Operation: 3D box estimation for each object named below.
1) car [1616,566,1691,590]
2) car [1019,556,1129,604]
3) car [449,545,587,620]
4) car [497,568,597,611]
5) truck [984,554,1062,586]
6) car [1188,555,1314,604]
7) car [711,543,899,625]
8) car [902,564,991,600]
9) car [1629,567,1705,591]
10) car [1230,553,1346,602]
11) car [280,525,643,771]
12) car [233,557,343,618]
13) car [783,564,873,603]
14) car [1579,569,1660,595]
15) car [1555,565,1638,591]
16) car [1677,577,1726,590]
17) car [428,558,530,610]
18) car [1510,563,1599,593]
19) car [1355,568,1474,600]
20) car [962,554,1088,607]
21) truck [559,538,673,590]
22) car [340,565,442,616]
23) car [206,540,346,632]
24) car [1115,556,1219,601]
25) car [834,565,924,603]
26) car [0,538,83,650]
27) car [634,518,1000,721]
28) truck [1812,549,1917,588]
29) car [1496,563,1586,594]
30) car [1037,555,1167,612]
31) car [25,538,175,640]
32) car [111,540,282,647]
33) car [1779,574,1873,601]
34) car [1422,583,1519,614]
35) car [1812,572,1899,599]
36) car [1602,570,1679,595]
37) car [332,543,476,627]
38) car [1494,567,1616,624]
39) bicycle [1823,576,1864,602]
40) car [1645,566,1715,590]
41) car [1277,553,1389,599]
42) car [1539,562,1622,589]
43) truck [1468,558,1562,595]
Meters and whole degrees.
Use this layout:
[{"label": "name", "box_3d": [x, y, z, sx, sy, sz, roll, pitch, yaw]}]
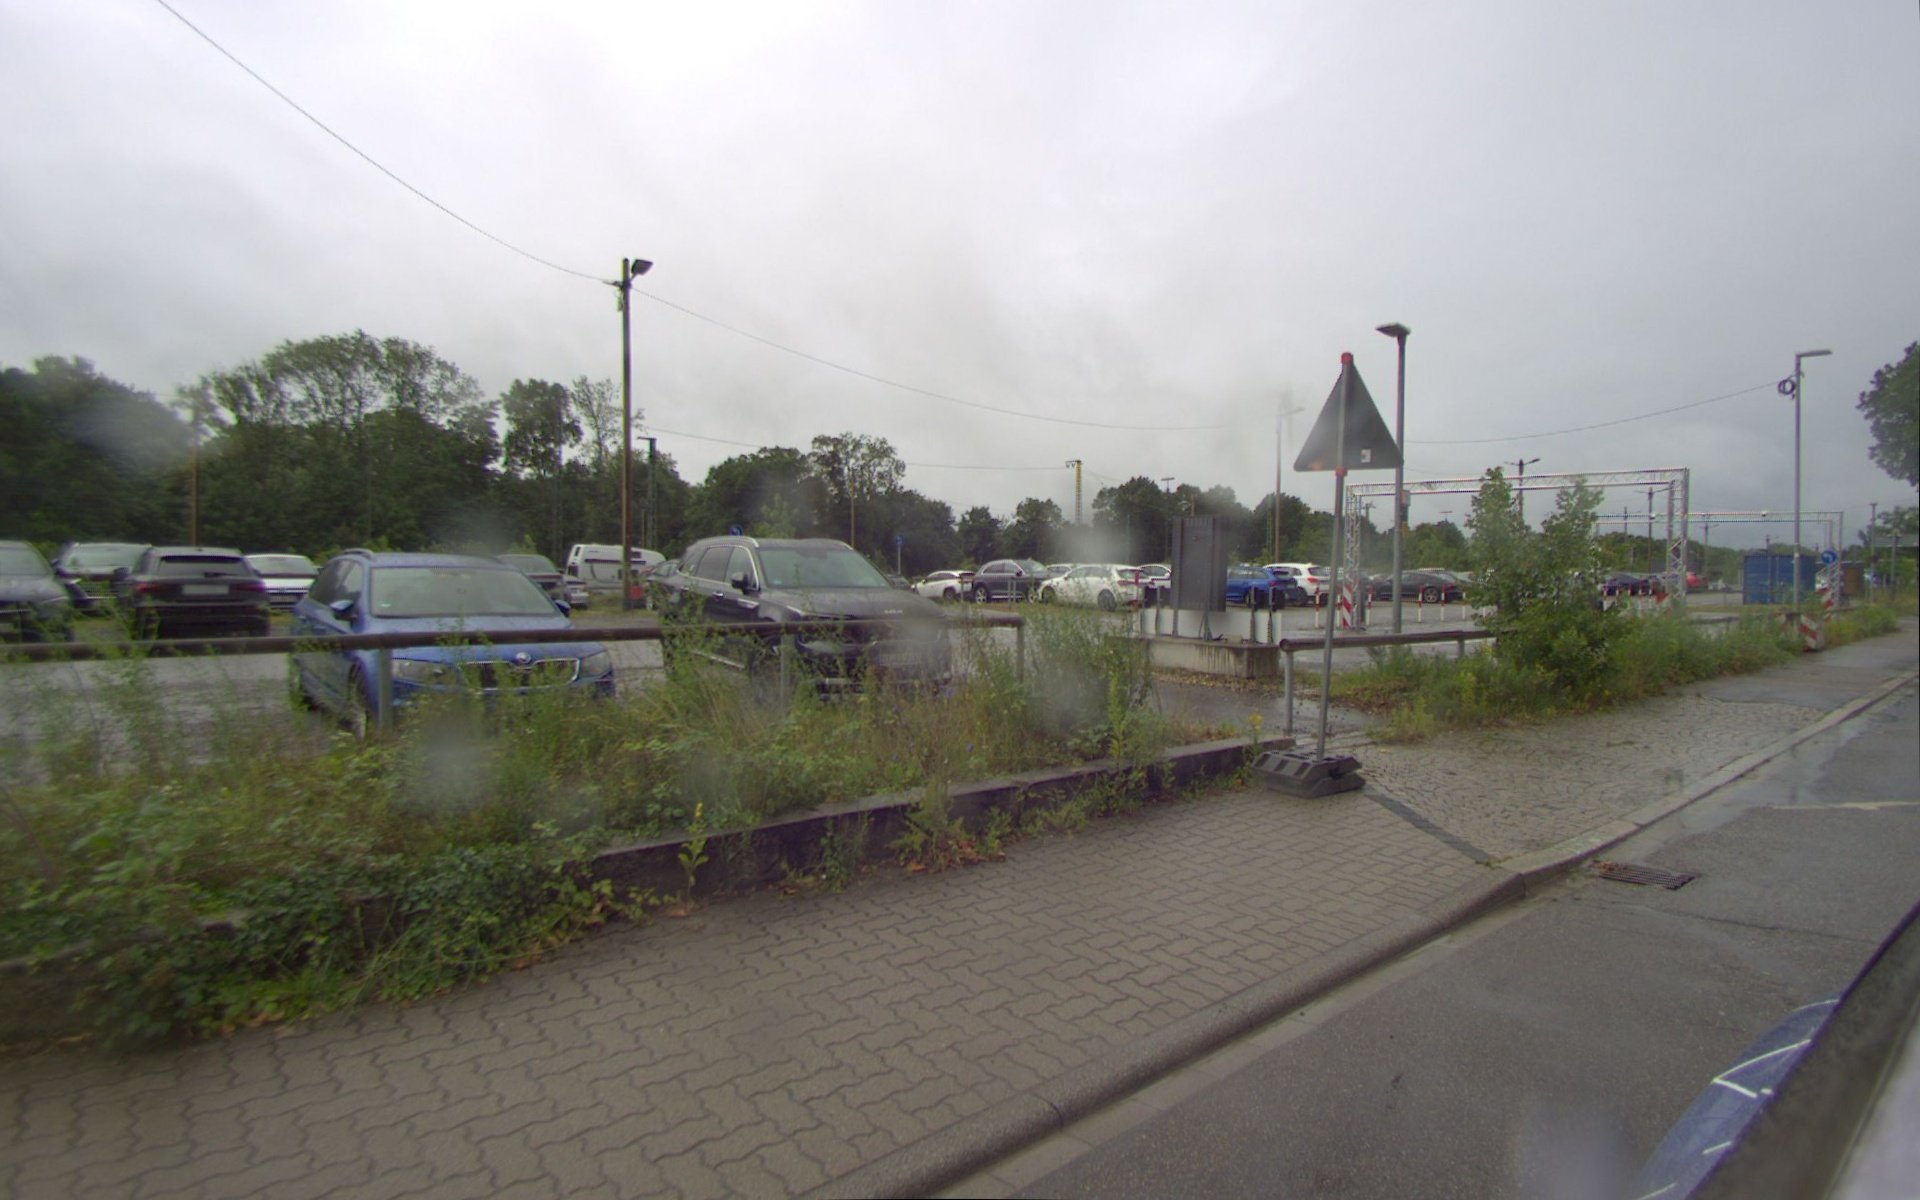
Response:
[{"label": "car", "box_3d": [48.645, -1.565, 71.082, 1.788, 1.444, 3.964, -2, 5, -38]}, {"label": "car", "box_3d": [4.369, -0.834, 39.343, 1.893, 1.624, 4.071, -2, 5, -39]}, {"label": "car", "box_3d": [-11.364, -0.542, 25.867, 2.009, 1.624, 4.451, -3, 6, -41]}, {"label": "car", "box_3d": [-15.008, -0.427, 36.695, 3.984, 1.417, 1.764, 3, 2, 41]}, {"label": "truck", "box_3d": [4.238, -1.964, 67.531, 5.185, 2.038, 2.086, 0, 3, -40]}, {"label": "car", "box_3d": [10.542, -0.797, 36.889, 1.893, 1.501, 4.058, -2, 5, -37]}, {"label": "car", "box_3d": [-3.742, -0.404, 23.913, 4.620, 1.737, 1.988, 1, 3, 44]}, {"label": "car", "box_3d": [-0.717, -0.902, 48.970, 1.986, 1.608, 4.326, -1, 2, -41]}, {"label": "car", "box_3d": [50.766, -1.522, 72.760, 1.891, 1.508, 4.077, -2, 5, -38]}, {"label": "car", "box_3d": [12.563, -0.910, 38.929, 1.754, 1.602, 3.916, -2, 5, -37]}, {"label": "car", "box_3d": [-4.407, 0.232, 8.561, 1.788, 1.535, 4.304, -2, 2, -40]}, {"label": "car", "box_3d": [-20.967, -0.429, 31.537, 3.983, 1.749, 1.870, 3, 2, 41]}, {"label": "car", "box_3d": [-5.940, -0.767, 45.115, 1.985, 1.608, 4.327, -1, 2, -40]}, {"label": "car", "box_3d": [42.605, -1.193, 65.414, 1.853, 1.444, 3.964, -2, 5, -38]}, {"label": "car", "box_3d": [39.988, -1.387, 63.645, 1.853, 1.444, 3.964, -2, 5, -38]}, {"label": "car", "box_3d": [82.183, -1.863, 112.271, 1.783, 1.392, 4.002, -1, 3, -34]}, {"label": "car", "box_3d": [-16.679, -0.601, 35.043, 3.984, 1.656, 1.764, 3, 2, 41]}, {"label": "car", "box_3d": [33.919, -1.293, 57.827, 1.746, 1.507, 3.964, -2, 5, -38]}, {"label": "car", "box_3d": [20.803, -0.774, 46.442, 1.945, 1.235, 4.596, -3, 5, -41]}, {"label": "car", "box_3d": [2.292, -0.769, 36.879, 1.893, 1.624, 4.715, -2, 5, -39]}, {"label": "truck", "box_3d": [-17.025, -1.774, 50.222, 4.996, 2.431, 2.076, -1, 3, -41]}, {"label": "car", "box_3d": [-18.643, -0.353, 33.076, 3.984, 1.511, 1.688, 3, 2, 41]}, {"label": "car", "box_3d": [-15.042, -0.414, 22.156, 2.009, 1.692, 4.451, -3, 6, -41]}, {"label": "car", "box_3d": [8.747, -0.967, 43.019, 1.801, 1.679, 4.068, -3, 6, -42]}, {"label": "car", "box_3d": [-3.768, -0.768, 46.454, 1.985, 1.608, 4.327, -1, 2, -40]}, {"label": "car", "box_3d": [-13.726, -0.100, 14.211, 1.965, 1.426, 3.996, -2, 2, -39]}, {"label": "car", "box_3d": [-1.814, 0.033, 11.266, 2.088, 1.756, 4.697, -2, 4, -36]}, {"label": "truck", "box_3d": [60.041, -2.079, 67.228, 2.075, 2.432, 5.039, -2, 2, -43]}, {"label": "car", "box_3d": [32.116, -1.199, 56.038, 1.746, 1.507, 3.964, -2, 5, -38]}, {"label": "car", "box_3d": [4.445, -0.582, 32.109, 1.893, 1.501, 3.842, -2, 5, -37]}, {"label": "car", "box_3d": [-16.967, -0.332, 19.897, 2.010, 1.692, 4.448, -3, 6, -43]}, {"label": "car", "box_3d": [-12.392, -0.161, 16.380, 1.965, 1.503, 3.996, -2, 2, -39]}, {"label": "car", "box_3d": [47.630, -0.724, 55.707, 1.874, 1.410, 3.776, -3, 3, -43]}, {"label": "car", "box_3d": [25.000, -0.106, 49.668, 1.617, 1.235, 3.902, -2, 4, -35]}, {"label": "car", "box_3d": [55.447, -0.918, 62.716, 1.866, 1.614, 3.900, -3, 3, -43]}, {"label": "car", "box_3d": [46.518, -1.225, 69.248, 1.853, 1.444, 3.964, -2, 5, -38]}, {"label": "car", "box_3d": [-12.872, -0.443, 23.297, 2.009, 1.624, 4.451, -3, 6, -41]}, {"label": "car", "box_3d": [16.815, -0.189, 28.511, 4.157, 1.474, 1.897, -1, 3, -44]}, {"label": "bicycle", "box_3d": [37.173, -0.471, 42.577, 1.667, 1.097, 0.510, 0, 2, -20]}, {"label": "car", "box_3d": [54.603, -1.690, 76.768, 1.775, 1.555, 3.964, -2, 5, -38]}, {"label": "car", "box_3d": [14.819, -1.007, 40.337, 1.754, 1.602, 3.787, -2, 5, -37]}, {"label": "car", "box_3d": [38.200, -1.536, 62.375, 1.853, 1.444, 3.964, -2, 5, -38]}, {"label": "truck", "box_3d": [38.672, -1.671, 70.623, 2.116, 2.396, 5.299, -1, 3, -41]}]
